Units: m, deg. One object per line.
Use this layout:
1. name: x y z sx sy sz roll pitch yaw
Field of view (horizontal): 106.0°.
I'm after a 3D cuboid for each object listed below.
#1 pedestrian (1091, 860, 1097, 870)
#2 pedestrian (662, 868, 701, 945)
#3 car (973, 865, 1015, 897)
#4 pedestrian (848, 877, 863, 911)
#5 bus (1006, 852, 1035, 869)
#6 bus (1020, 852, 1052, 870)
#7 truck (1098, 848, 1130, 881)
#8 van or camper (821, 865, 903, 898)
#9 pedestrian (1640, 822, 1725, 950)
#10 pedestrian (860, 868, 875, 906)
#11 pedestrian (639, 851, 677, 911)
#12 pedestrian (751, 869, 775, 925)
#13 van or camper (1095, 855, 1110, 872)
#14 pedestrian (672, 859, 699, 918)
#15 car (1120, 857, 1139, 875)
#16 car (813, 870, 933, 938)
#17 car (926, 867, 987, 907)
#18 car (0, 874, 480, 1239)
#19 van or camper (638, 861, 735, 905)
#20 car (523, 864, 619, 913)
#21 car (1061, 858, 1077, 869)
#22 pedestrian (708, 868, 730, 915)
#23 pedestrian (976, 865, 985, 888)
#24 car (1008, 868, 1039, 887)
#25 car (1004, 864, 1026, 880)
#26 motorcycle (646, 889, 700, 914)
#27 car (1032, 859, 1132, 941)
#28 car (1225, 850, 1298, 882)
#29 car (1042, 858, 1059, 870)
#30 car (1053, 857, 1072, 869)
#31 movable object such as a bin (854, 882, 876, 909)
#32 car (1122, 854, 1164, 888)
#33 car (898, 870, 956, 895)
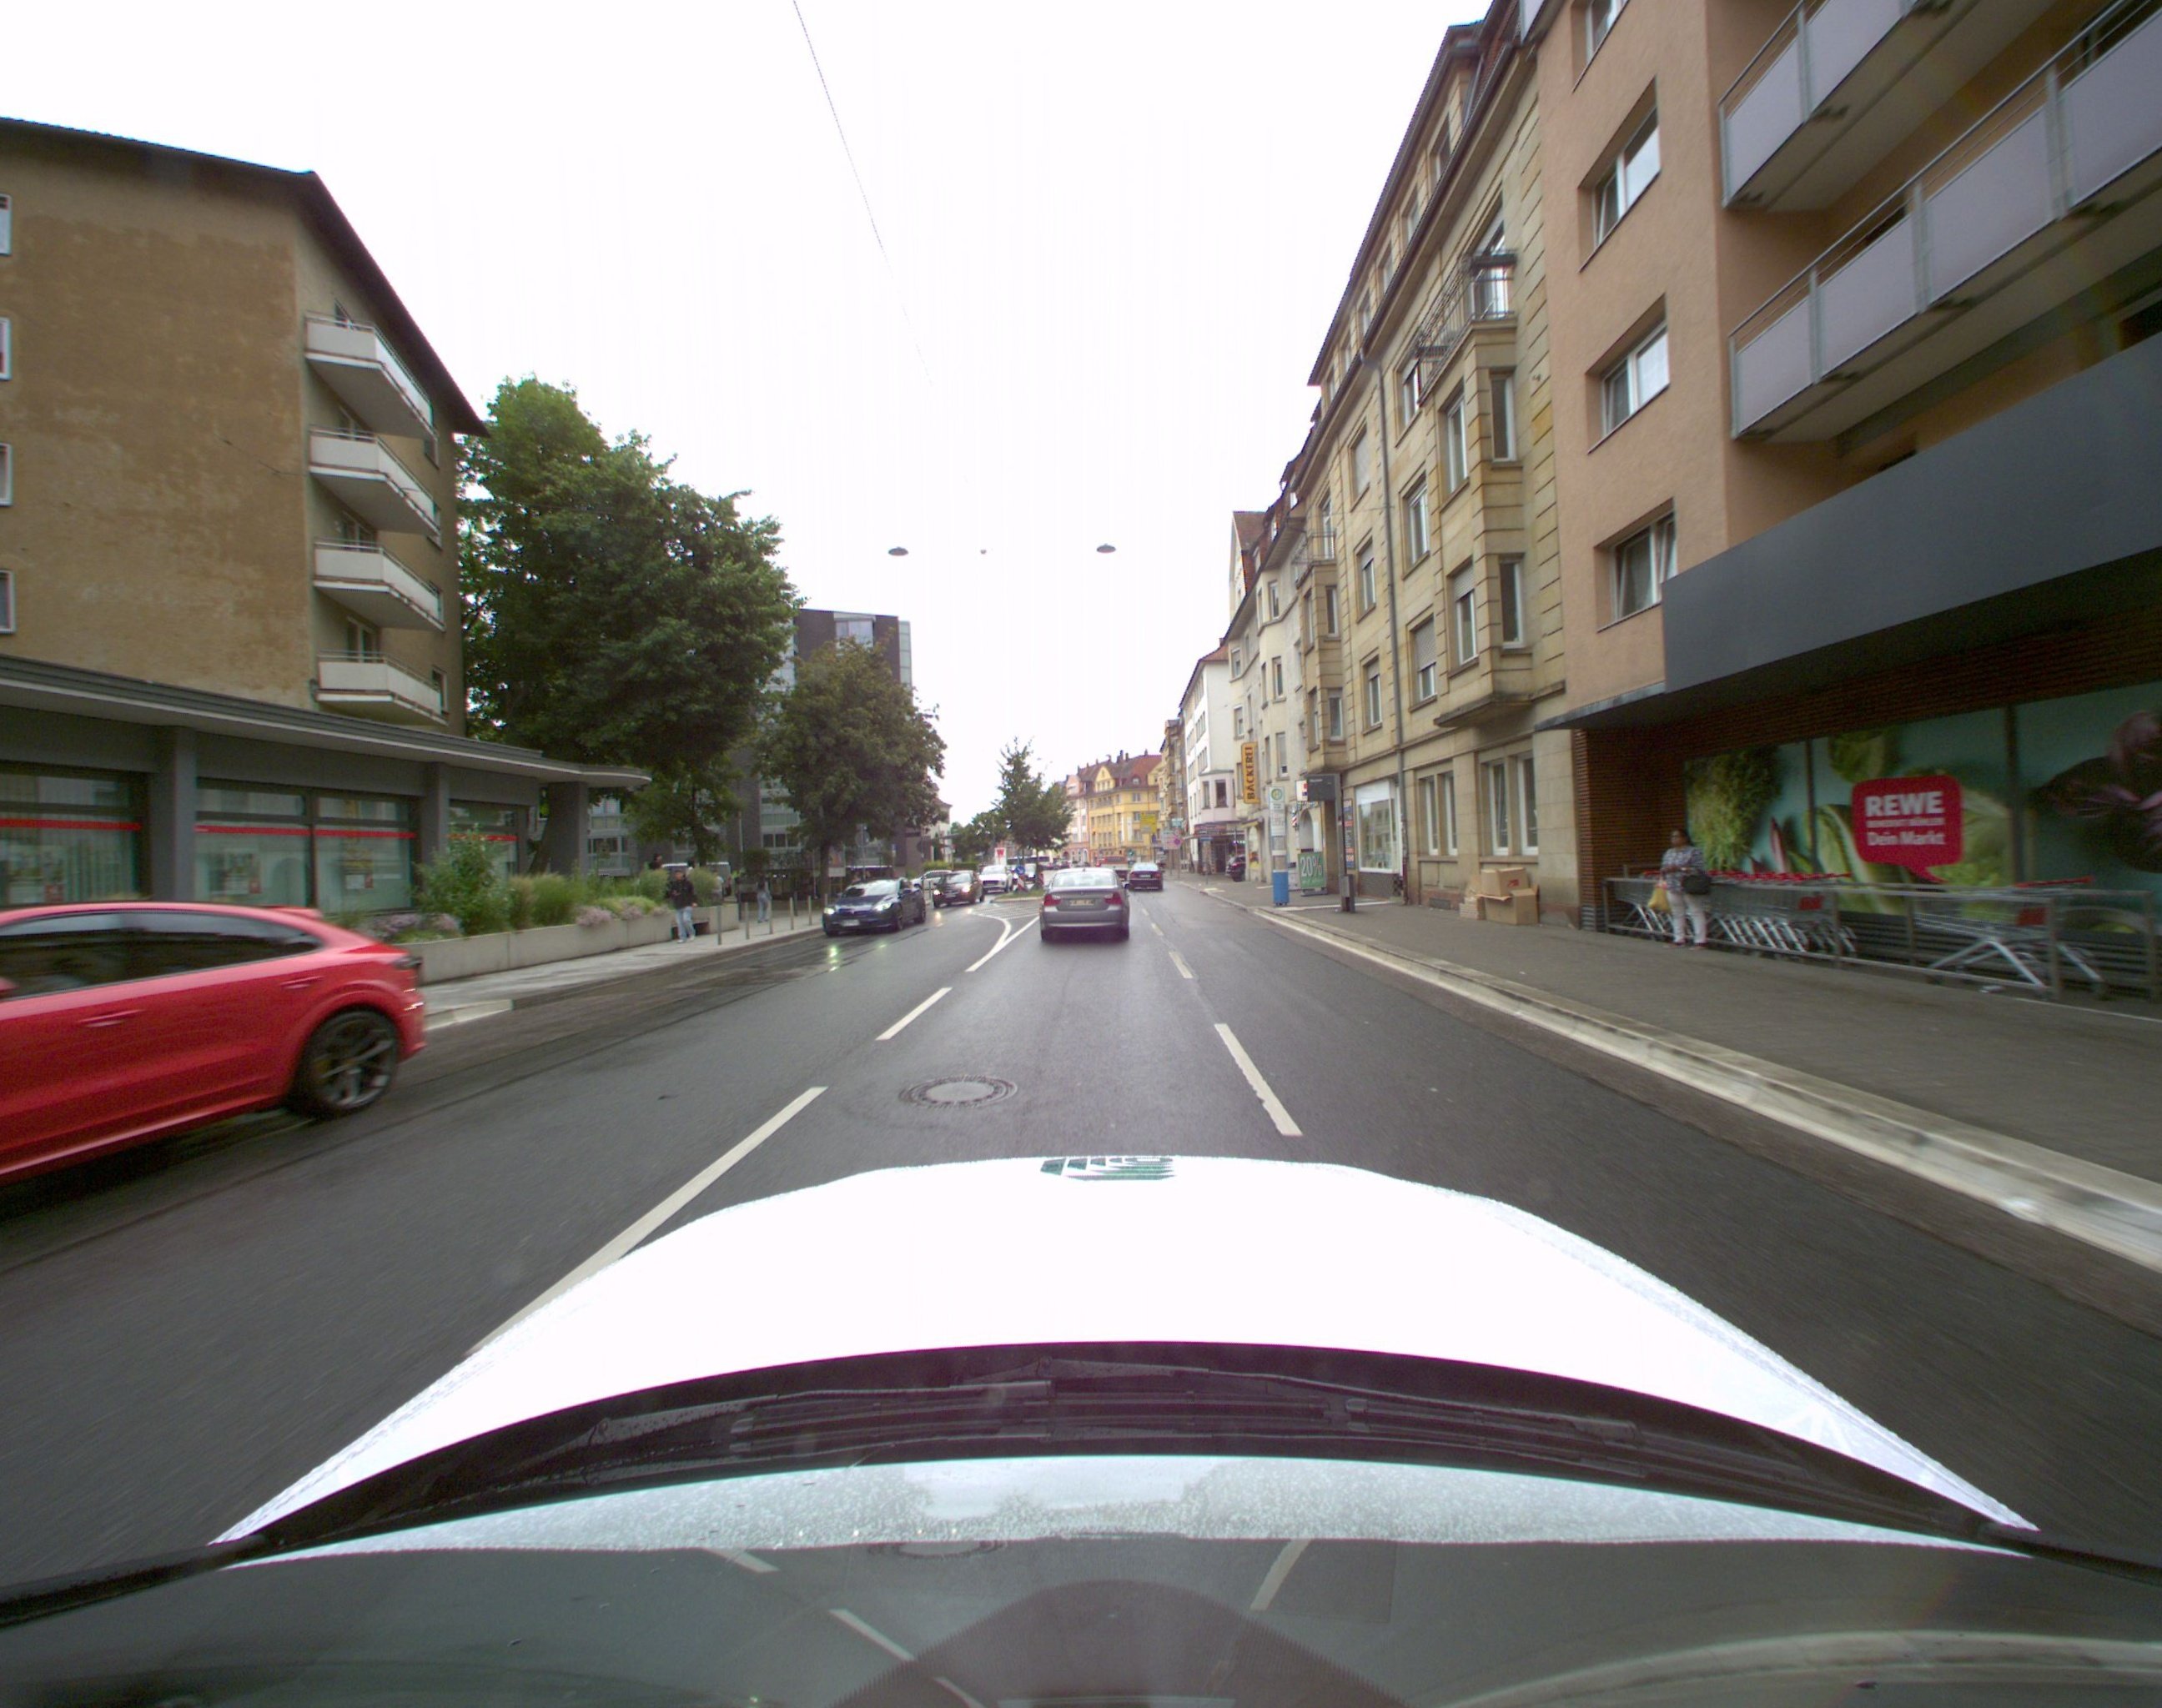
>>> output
1. pedestrian: 1.950 1.613 120.862 0.763 1.529 0.505 0 -2 -19
2. pedestrian: -9.836 1.275 20.078 0.723 1.826 0.718 -1 0 -17
3. car: -4.945 1.491 46.611 1.813 1.569 4.089 -4 0 1
4. pedestrian: -10.052 1.774 36.311 0.458 1.473 0.530 -2 -1 -2
5. bus: -12.301 1.404 164.486 2.922 3.105 8.802 -3 0 -23
6. bus: -8.694 1.400 156.264 2.922 3.105 9.070 -3 0 -24
7. truck: 2.388 0.781 59.689 2.216 2.249 5.064 -1 -1 1
8. van or camper: -14.627 1.773 54.386 4.979 2.014 1.982 -1 -1 -28
9. pedestrian: 7.713 0.403 10.458 0.562 1.573 0.624 -2 -1 -15
10. pedestrian: -9.534 1.481 36.382 0.496 1.673 0.552 -2 -1 -2
11. pedestrian: -13.515 0.858 26.037 0.860 1.845 0.691 -2 -1 -13
12. pedestrian: -10.836 1.447 27.786 0.723 1.826 0.849 -1 0 -21
13. van or camper: 2.780 1.270 107.550 1.849 2.146 4.140 0 0 -1
14. pedestrian: -12.256 1.065 25.252 0.657 1.759 0.716 -2 -1 -22
15. car: 5.717 1.382 95.955 1.986 2.014 4.001 -2 -1 1
16. car: -5.666 1.296 22.877 1.948 1.512 4.913 -4 0 1
17. car: -5.381 1.401 35.756 1.949 1.557 4.243 -2 0 0
18. car: -6.346 1.074 4.505 2.098 1.764 5.061 -4 -1 2
19. van or camper: -21.458 1.528 44.412 4.628 2.266 2.192 0 -1 -28
20. car: -26.532 1.744 42.542 4.008 2.255 1.983 -3 0 -26
21. car: -2.276 1.866 156.736 1.770 2.180 3.969 1 -1 -23
22. pedestrian: -14.443 1.484 32.486 0.725 1.826 0.716 -1 0 -26
23. pedestrian: -8.099 1.806 65.733 0.573 1.762 0.580 -2 -1 -5
24. car: -4.717 1.919 67.284 2.006 1.425 4.502 -3 -1 2
25. car: -7.225 1.937 88.691 1.949 1.659 4.042 2 0 -11
26. motorcycle: -17.473 2.034 34.890 2.036 0.987 0.800 0 0 16
27. car: 0.116 0.920 17.207 1.792 1.464 4.373 -2 -2 2
28. car: 10.837 0.736 49.065 4.115 1.772 1.877 -2 -1 7
29. car: -5.592 1.784 148.564 2.000 2.014 3.973 -2 -1 -20
30. car: -3.261 1.601 143.017 2.000 2.014 3.974 -2 -1 -19
31. movable object such as a bin: -9.427 1.808 35.613 0.701 1.134 0.965 -1 -1 -2
32. car: 3.043 0.873 40.877 1.793 1.563 3.999 -2 -1 0
33. car: -10.644 1.955 56.378 3.601 1.569 1.723 -1 -1 -31
